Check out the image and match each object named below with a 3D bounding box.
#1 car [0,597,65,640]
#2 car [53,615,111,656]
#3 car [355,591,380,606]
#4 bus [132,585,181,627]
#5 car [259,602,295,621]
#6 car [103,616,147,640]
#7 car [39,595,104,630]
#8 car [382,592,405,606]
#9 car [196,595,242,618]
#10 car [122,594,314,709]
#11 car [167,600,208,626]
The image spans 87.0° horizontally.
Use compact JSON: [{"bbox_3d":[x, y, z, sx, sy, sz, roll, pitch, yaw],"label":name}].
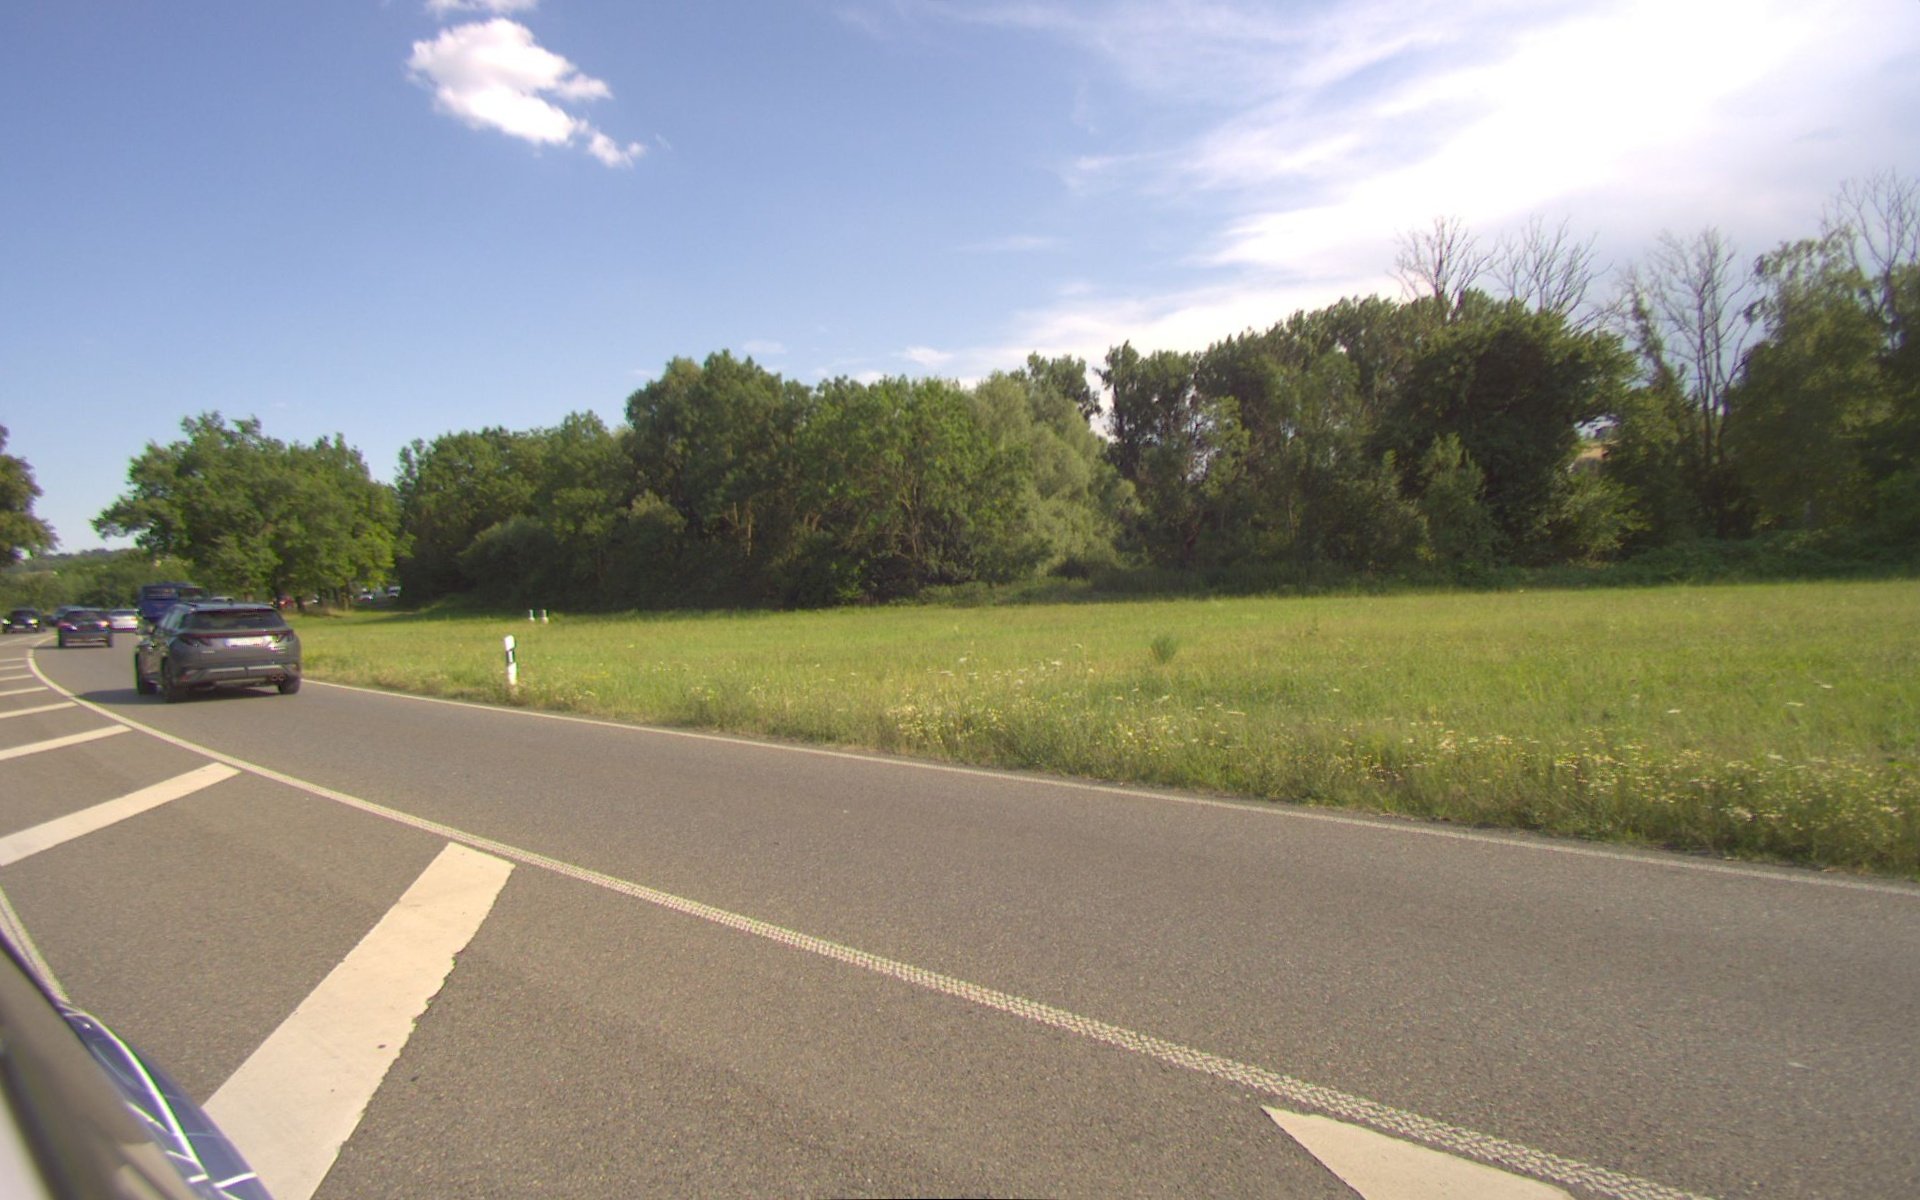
[{"bbox_3d":[-57.379,1.074,62.033,2.054,2.435,5.159,-2,1,-22],"label":"car"},{"bbox_3d":[-35.750,1.424,41.283,1.673,1.564,4.159,0,-2,-39],"label":"car"},{"bbox_3d":[-101.839,-0.218,173.971,2.056,2.435,5.154,-1,1,-10],"label":"car"},{"bbox_3d":[-67.283,0.393,84.653,2.759,3.205,12.147,-2,2,-40],"label":"bus"},{"bbox_3d":[-91.700,1.536,135.939,2.056,2.435,5.154,-1,1,-10],"label":"car"},{"bbox_3d":[-51.414,1.715,62.304,1.680,1.344,4.752,-1,1,-45],"label":"car"},{"bbox_3d":[-67.194,0.884,76.635,2.054,2.435,5.159,-2,1,-22],"label":"car"},{"bbox_3d":[-105.254,-0.240,188.043,2.056,2.435,5.154,-1,1,-10],"label":"car"},{"bbox_3d":[-82.406,0.675,112.670,2.056,2.435,5.154,-1,1,-10],"label":"car"},{"bbox_3d":[-13.258,0.858,17.976,4.427,1.738,1.972,-2,0,44],"label":"car"},{"bbox_3d":[-80.573,1.335,105.592,2.054,2.435,5.159,-2,1,-22],"label":"car"}]
